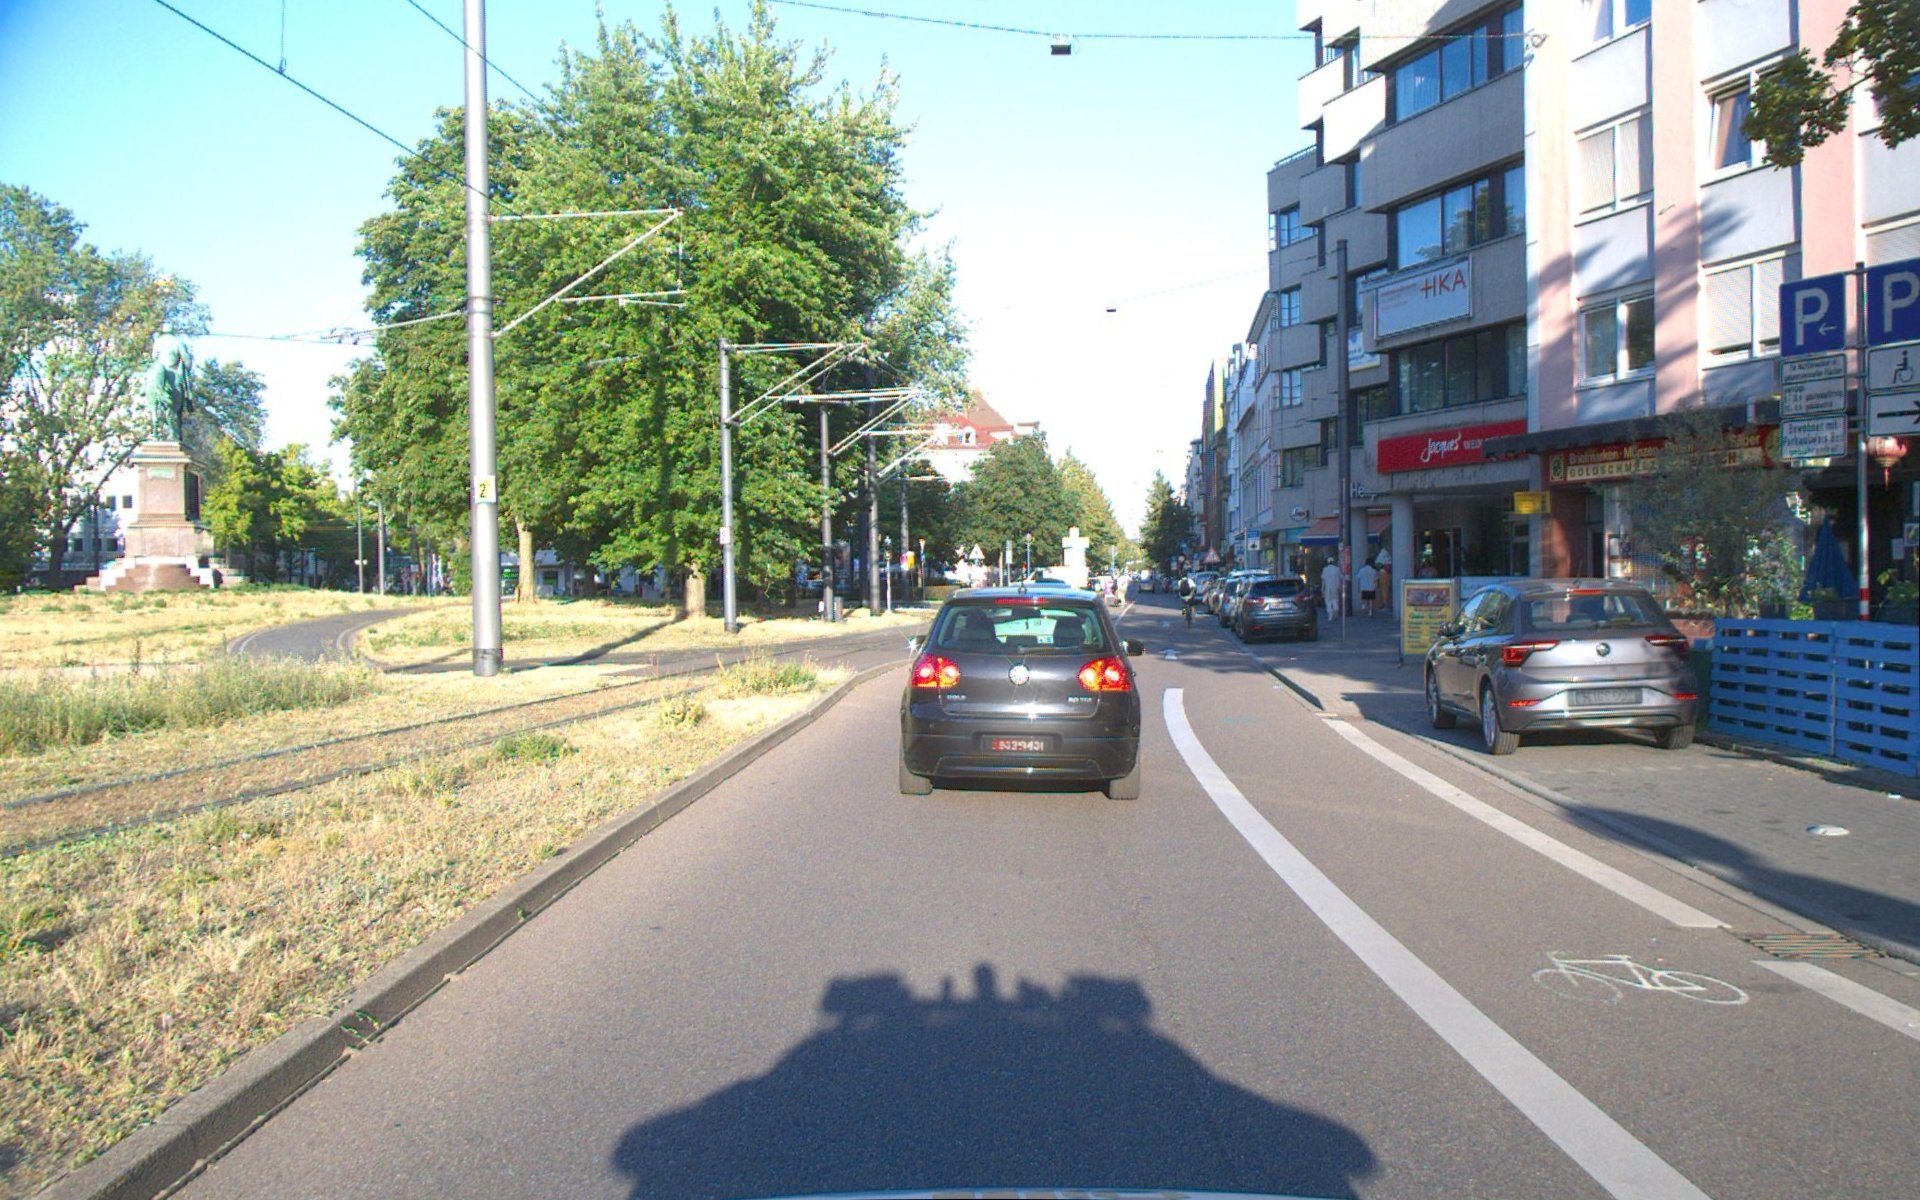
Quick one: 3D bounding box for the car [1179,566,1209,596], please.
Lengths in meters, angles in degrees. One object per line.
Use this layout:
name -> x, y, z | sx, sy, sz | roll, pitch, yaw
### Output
car -> 15.682, -1.281, 111.049 | 1.884, 1.873, 4.021 | -2, 0, 7

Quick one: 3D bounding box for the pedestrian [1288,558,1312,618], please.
pedestrian -> 10.297, -0.364, 50.071 | 0.566, 1.790, 0.662 | -3, 0, 7

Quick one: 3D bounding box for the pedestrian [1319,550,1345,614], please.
pedestrian -> 11.178, -0.542, 49.676 | 0.609, 1.890, 0.662 | -3, 0, 7

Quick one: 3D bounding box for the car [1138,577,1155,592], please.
car -> 20.933, -1.746, 185.910 | 1.866, 1.579, 4.003 | -1, 1, 6

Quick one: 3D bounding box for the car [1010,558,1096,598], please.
car -> 6.286, -1.515, 111.863 | 5.430, 2.640, 2.142 | -1, 0, -20

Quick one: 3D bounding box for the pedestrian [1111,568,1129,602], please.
pedestrian -> 8.022, -0.752, 82.834 | 0.842, 1.736, 0.941 | 0, 0, 0

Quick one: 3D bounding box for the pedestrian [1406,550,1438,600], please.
pedestrian -> 16.099, -0.855, 57.634 | 0.968, 1.702, 0.642 | -2, 1, 7

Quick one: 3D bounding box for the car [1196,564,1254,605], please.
car -> 10.385, -0.626, 65.118 | 1.628, 1.466, 3.823 | -3, 1, 1

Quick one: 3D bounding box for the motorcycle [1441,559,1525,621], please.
motorcycle -> 12.226, -0.246, 38.666 | 1.748, 1.354, 0.582 | -3, 1, -6

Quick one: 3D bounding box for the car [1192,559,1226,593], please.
car -> 14.036, -1.334, 93.341 | 1.698, 1.831, 3.919 | -2, 0, 6

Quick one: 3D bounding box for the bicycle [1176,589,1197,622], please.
bicycle -> 6.934, 0.158, 50.603 | 0.566, 1.004, 1.937 | 0, 1, 6

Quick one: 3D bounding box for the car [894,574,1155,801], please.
car -> 0.598, 0.547, 12.933 | 1.711, 1.486, 4.106 | 0, 1, 5

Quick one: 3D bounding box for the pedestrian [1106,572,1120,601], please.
pedestrian -> 8.422, -0.756, 90.944 | 0.720, 1.582, 0.632 | -1, 0, 3

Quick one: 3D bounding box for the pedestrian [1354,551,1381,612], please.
pedestrian -> 12.262, -0.557, 49.772 | 0.609, 1.770, 0.662 | -3, 0, 7

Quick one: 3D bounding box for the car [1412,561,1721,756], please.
car -> 5.474, 0.454, 15.430 | 1.692, 1.497, 3.902 | -3, 1, 5

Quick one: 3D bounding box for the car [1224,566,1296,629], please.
car -> 8.278, -0.094, 45.853 | 1.573, 1.583, 3.613 | -3, 1, 5

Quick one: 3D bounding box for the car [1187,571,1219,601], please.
car -> 14.416, -0.826, 98.347 | 1.698, 1.645, 3.919 | -2, 0, 6

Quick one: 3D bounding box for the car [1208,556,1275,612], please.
car -> 9.717, -0.562, 57.388 | 1.828, 1.743, 4.508 | -3, 1, 4

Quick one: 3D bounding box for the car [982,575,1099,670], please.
car -> 1.488, 0.337, 28.964 | 1.825, 1.466, 4.200 | -1, 1, 6

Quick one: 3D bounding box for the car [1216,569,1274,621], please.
car -> 8.844, -0.176, 51.530 | 1.627, 1.466, 3.858 | -3, 1, 8

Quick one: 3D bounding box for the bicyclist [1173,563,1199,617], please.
bicyclist -> 6.899, -0.312, 50.522 | 0.760, 1.646, 1.026 | 0, 0, 6

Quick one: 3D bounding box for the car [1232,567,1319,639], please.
car -> 7.739, 0.042, 40.847 | 1.744, 1.583, 4.238 | -3, 1, 7
